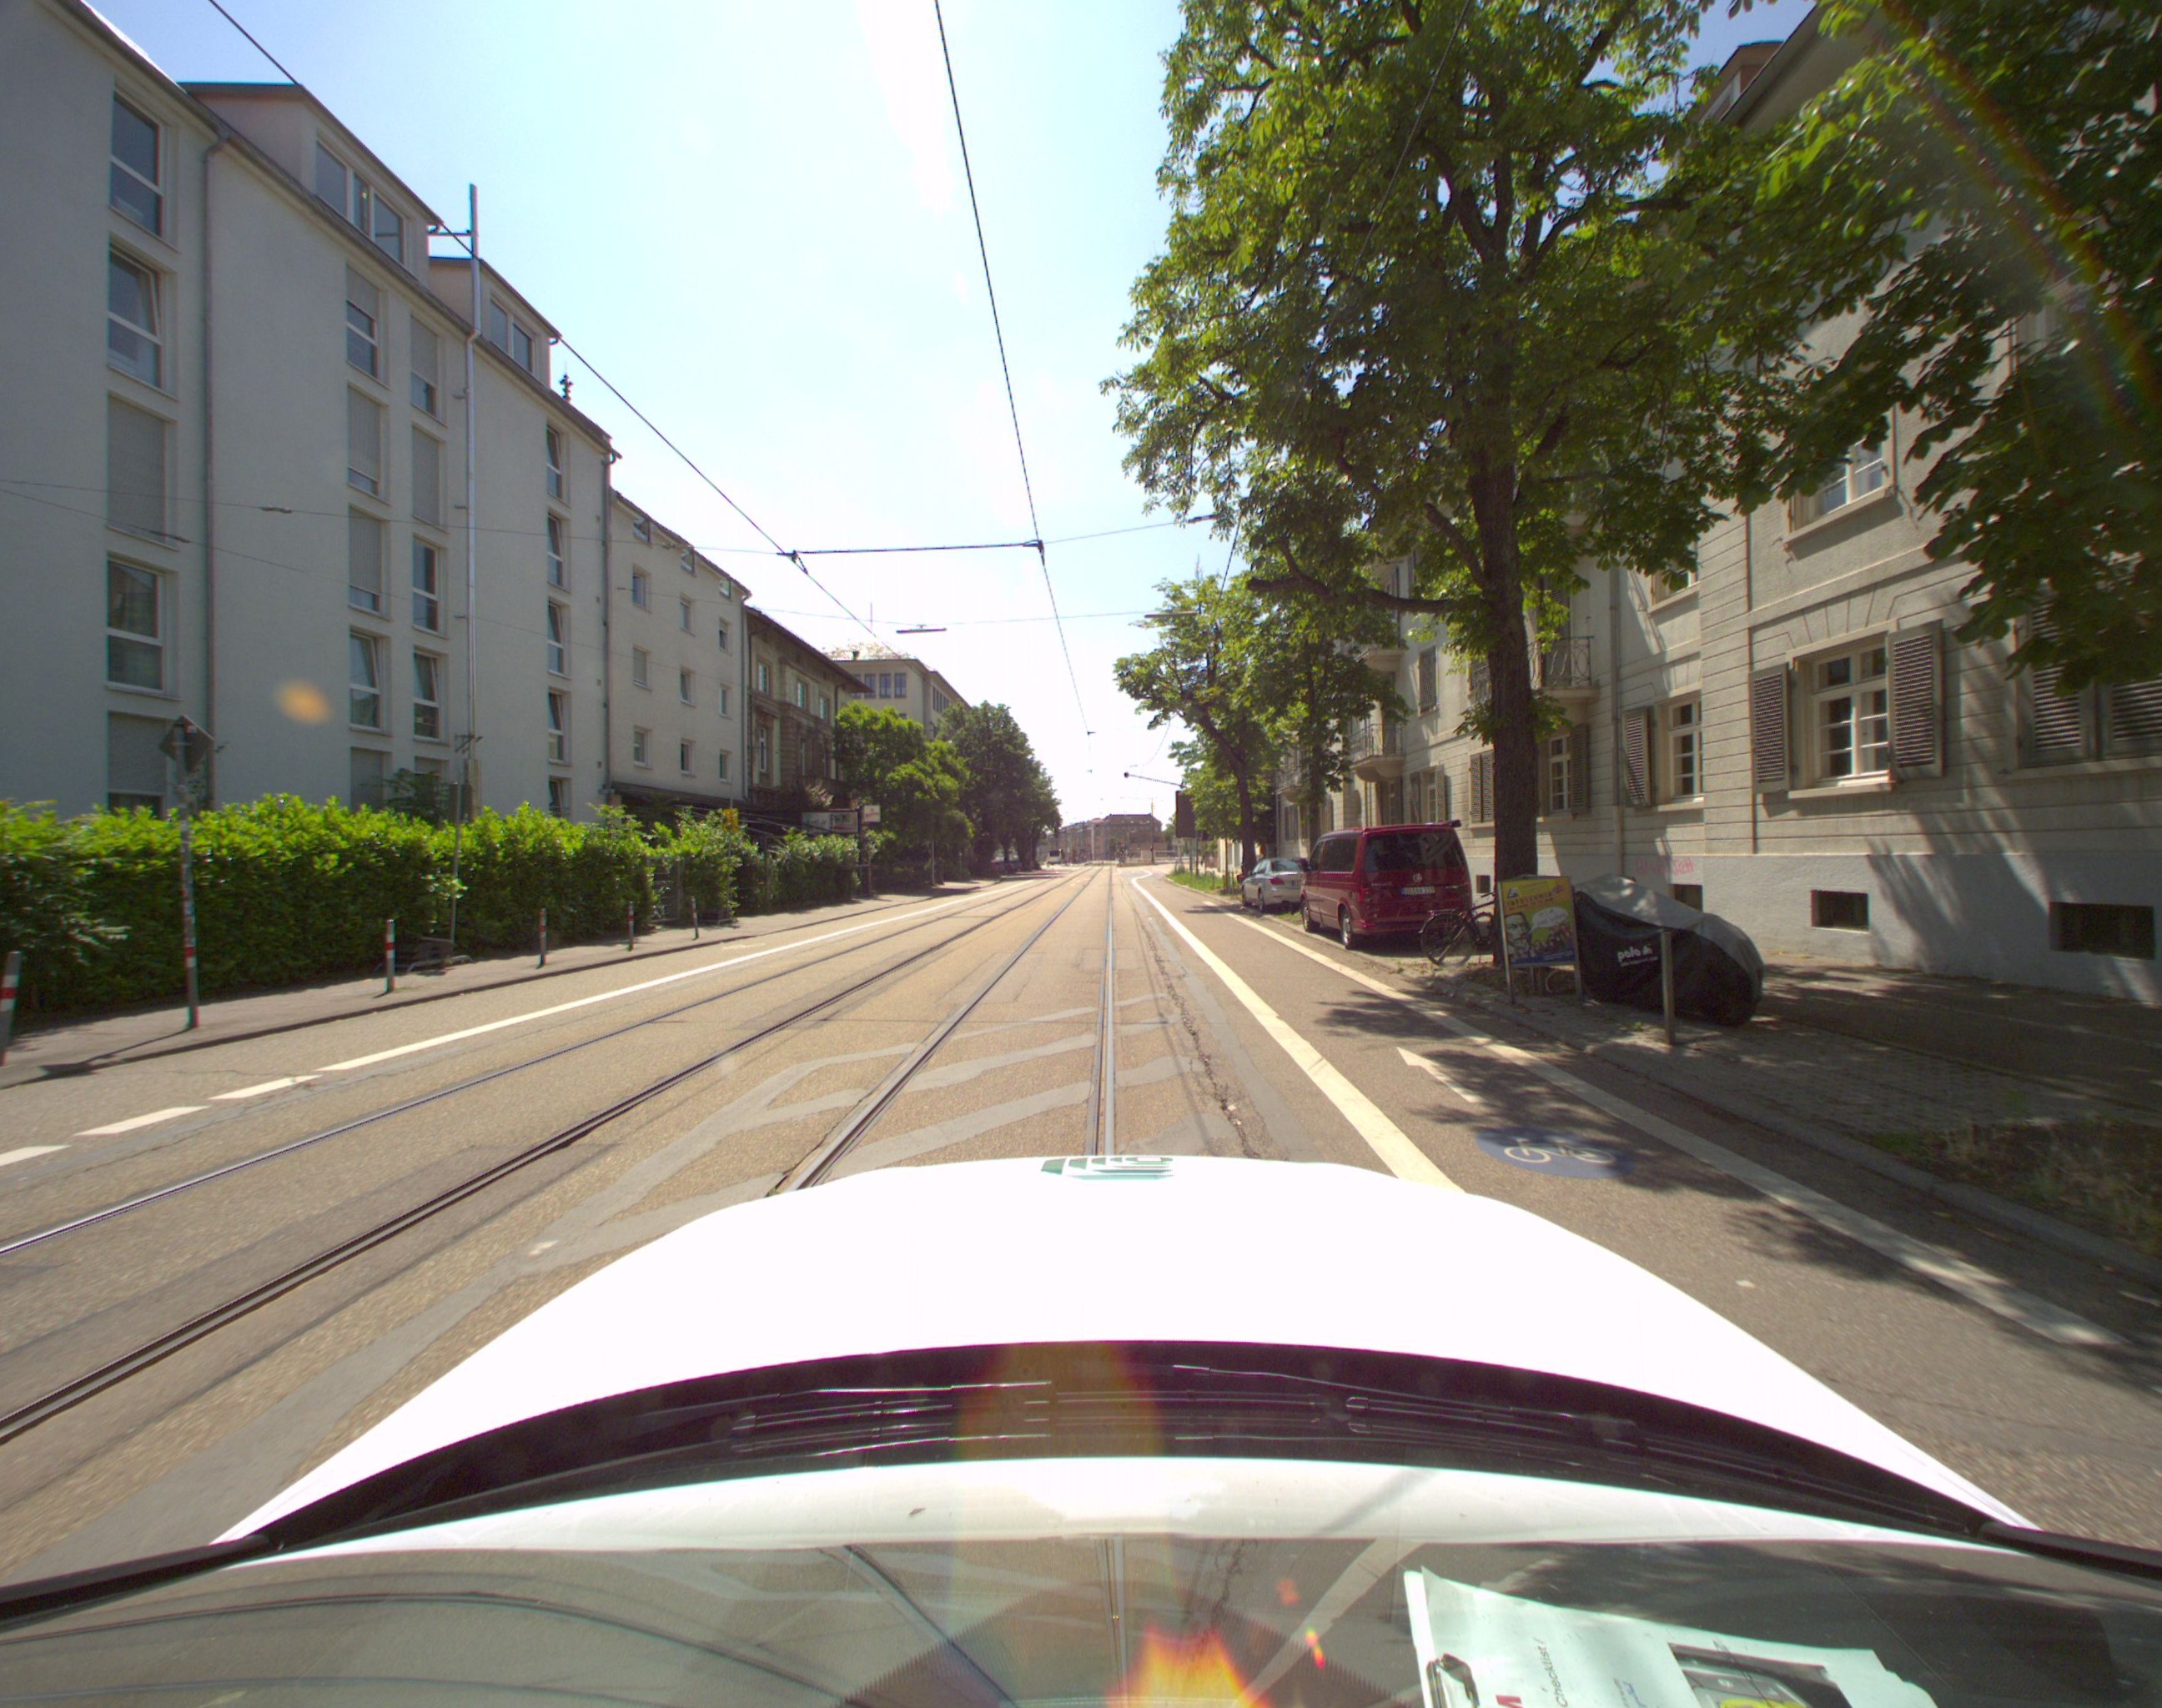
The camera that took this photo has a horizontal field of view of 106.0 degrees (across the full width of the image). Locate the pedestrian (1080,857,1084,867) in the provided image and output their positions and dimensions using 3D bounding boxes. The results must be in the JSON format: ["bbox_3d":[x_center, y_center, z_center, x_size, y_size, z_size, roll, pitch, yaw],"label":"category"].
[{"bbox_3d":[0.267,1.634,166.147,0.672,1.909,0.639,-1,-1,-8],"label":"pedestrian"}]

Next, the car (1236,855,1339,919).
[{"bbox_3d":[5.608,0.837,22.724,1.852,1.577,4.880,0,-1,3],"label":"car"}]

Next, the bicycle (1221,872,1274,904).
[{"bbox_3d":[5.472,1.119,26.843,1.651,1.016,0.372,-1,-1,2],"label":"bicycle"}]

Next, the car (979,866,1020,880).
[{"bbox_3d":[-8.505,1.955,84.986,3.939,1.374,1.656,-1,0,-24],"label":"car"}]

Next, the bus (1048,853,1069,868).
[{"bbox_3d":[-4.770,1.414,176.275,2.998,3.158,17.510,-1,0,3],"label":"bus"}]

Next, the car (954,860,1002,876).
[{"bbox_3d":[-10.098,1.370,79.867,4.332,1.584,1.654,1,-1,-27],"label":"car"}]

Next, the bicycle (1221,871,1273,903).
[{"bbox_3d":[5.565,1.107,27.340,1.651,1.015,0.372,-1,2,2],"label":"bicycle"}]

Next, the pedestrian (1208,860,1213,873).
[{"bbox_3d":[16.298,1.525,102.535,0.657,1.647,0.626,-1,-1,7],"label":"pedestrian"}]

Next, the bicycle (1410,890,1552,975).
[{"bbox_3d":[5.233,1.014,10.678,1.693,1.021,0.364,-2,-1,-5],"label":"bicycle"}]

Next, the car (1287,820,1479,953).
[{"bbox_3d":[5.240,0.528,14.926,1.852,2.014,4.979,0,-1,3],"label":"car"}]

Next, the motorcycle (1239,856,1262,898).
[{"bbox_3d":[6.381,0.833,30.643,0.740,1.506,2.568,-1,0,13],"label":"motorcycle"}]

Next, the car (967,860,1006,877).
[{"bbox_3d":[-8.934,1.374,77.256,3.357,1.516,1.656,0,-1,-24],"label":"car"}]
